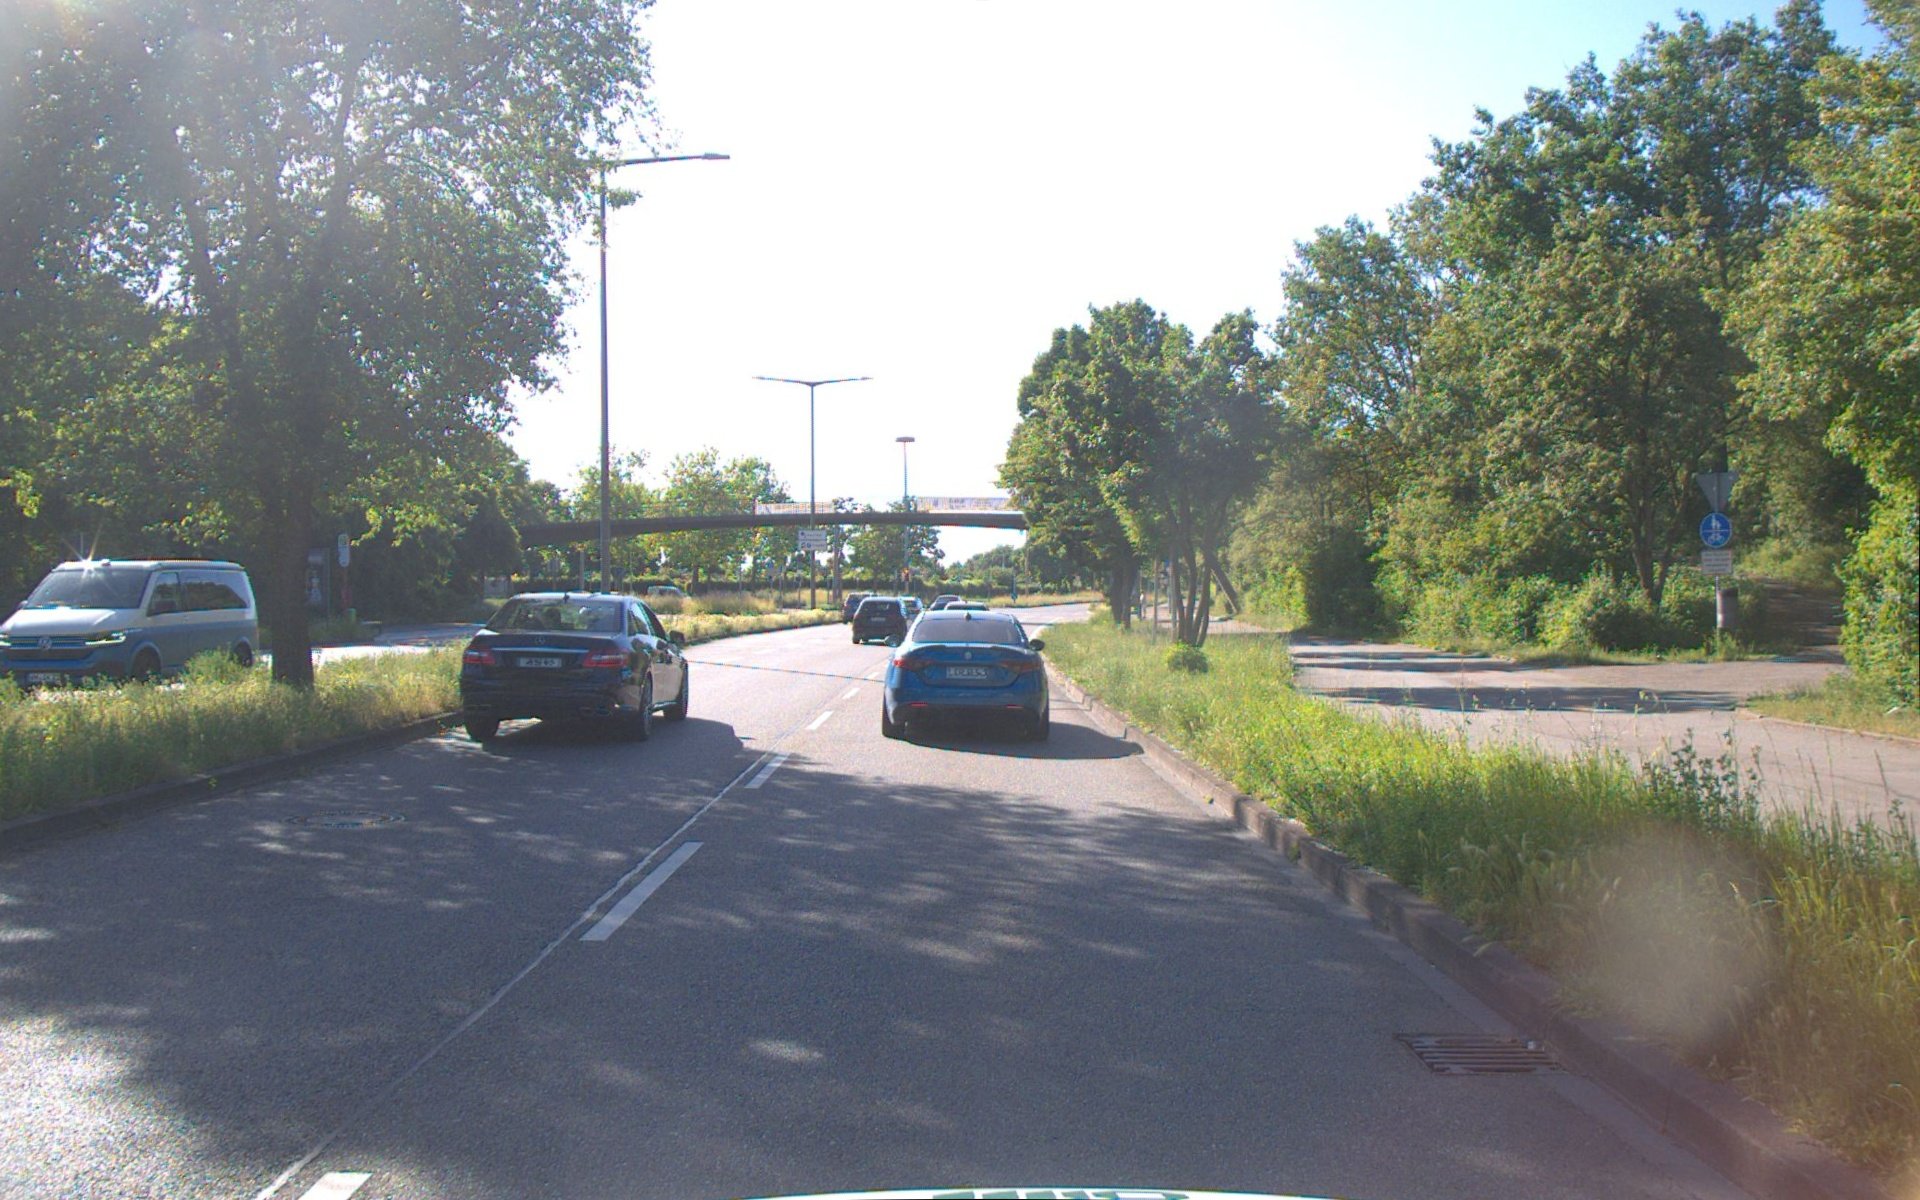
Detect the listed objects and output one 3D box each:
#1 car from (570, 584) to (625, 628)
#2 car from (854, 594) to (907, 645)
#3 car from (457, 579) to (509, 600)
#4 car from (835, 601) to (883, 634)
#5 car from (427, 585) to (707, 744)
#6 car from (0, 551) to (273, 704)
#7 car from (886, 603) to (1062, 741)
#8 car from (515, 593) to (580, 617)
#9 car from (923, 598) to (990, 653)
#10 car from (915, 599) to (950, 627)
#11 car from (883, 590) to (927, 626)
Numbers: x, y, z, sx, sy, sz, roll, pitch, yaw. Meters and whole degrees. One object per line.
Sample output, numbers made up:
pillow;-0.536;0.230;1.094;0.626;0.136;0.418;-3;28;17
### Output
car;-17.549;0.295;80.202;1.954;2.049;4.578;1;0;-4
car;-2.691;0.638;55.121;1.674;1.626;4.220;1;0;-4
car;-48.196;-1.059;167.181;4.686;2.049;2.000;1;-1;2
car;-5.142;0.893;84.743;1.759;1.583;3.733;1;0;7
car;-4.106;0.620;18.160;1.919;1.509;4.917;0;0;0
car;-11.999;0.372;23.991;1.953;1.963;5.244;0;0;-1
car;0.111;0.776;19.558;1.845;1.431;4.223;1;0;-1
car;-30.425;0.336;121.986;4.217;1.679;2.001;1;-1;19
car;-0.139;0.725;48.191;1.845;1.479;4.525;1;0;-1
car;-1.495;0.713;90.055;1.845;1.479;4.525;1;0;-1
car;-2.396;0.361;72.777;1.845;1.479;4.525;1;0;-1
